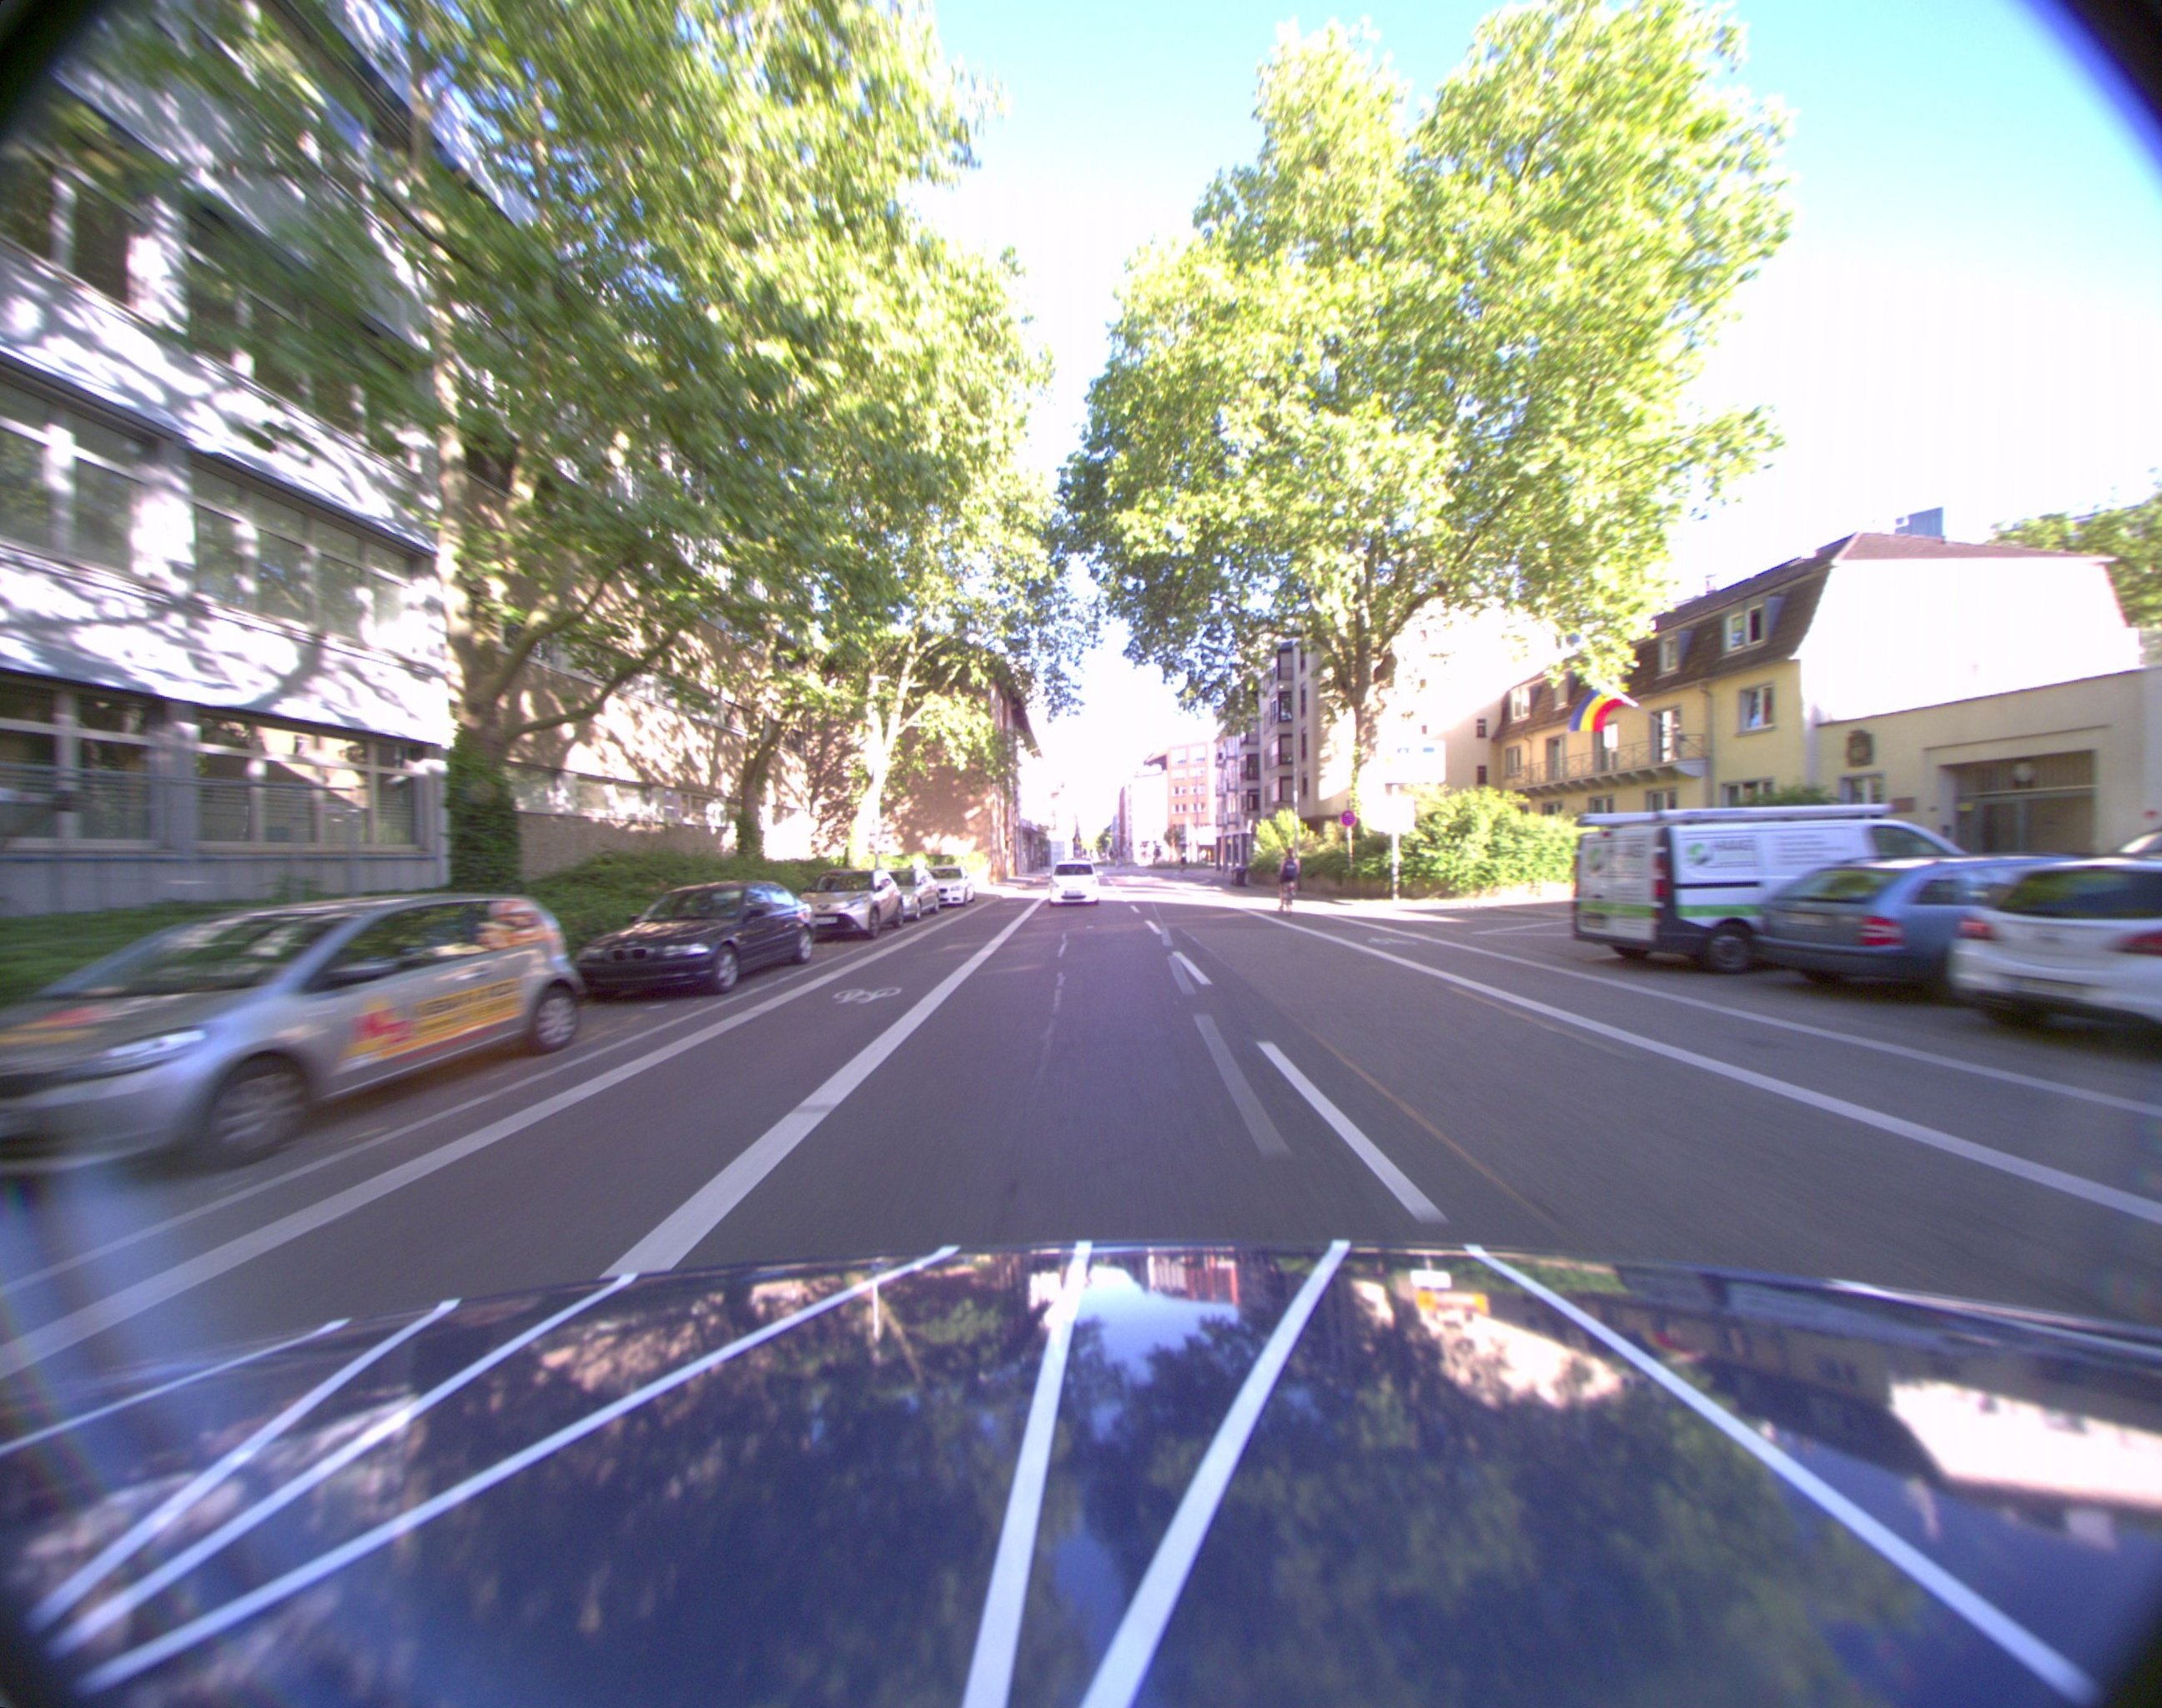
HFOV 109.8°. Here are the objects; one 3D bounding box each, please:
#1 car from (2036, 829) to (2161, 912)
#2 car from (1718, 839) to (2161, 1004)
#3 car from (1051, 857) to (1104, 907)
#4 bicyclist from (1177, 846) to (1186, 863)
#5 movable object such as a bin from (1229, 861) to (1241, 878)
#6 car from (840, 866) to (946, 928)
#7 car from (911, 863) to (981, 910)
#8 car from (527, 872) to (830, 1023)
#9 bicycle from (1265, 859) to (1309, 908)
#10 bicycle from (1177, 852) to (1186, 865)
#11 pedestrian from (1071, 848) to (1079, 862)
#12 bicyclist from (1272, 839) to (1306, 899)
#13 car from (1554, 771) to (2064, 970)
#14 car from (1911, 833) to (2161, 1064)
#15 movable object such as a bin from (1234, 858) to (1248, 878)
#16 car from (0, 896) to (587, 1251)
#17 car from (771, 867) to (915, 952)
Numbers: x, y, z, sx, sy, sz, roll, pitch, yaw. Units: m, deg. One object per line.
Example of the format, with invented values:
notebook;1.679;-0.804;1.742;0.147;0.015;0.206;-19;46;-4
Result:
car;20.866;0.219;14.037;3.870;1.409;1.891;-3;-1;2
car;9.582;0.626;8.102;3.997;1.424;1.853;-2;0;0
car;-0.129;0.905;26.074;1.683;1.490;3.684;-1;1;-1
bicyclist;9.667;0.047;73.200;0.730;1.632;1.168;-1;1;2
movable object such as a bin;8.567;0.853;42.327;0.542;0.896;0.604;-1;1;1
car;-5.189;1.125;21.650;1.860;1.428;4.602;-2;0;0
car;-4.865;1.116;28.026;1.860;1.428;4.968;-2;0;-3
car;-5.325;1.116;10.922;1.860;1.514;4.598;-3;0;0
bicycle;5.441;0.762;20.203;0.608;1.232;2.049;1;0;0
bicycle;9.688;0.437;73.326;0.730;1.193;2.179;0;1;2
pedestrian;-0.854;0.187;100.885;0.709;1.809;0.705;1;2;-42
bicyclist;5.429;0.383;19.836;0.608;1.536;0.934;1;0;0
car;9.598;0.199;10.387;4.856;2.204;2.140;-3;1;0
car;9.389;0.591;5.820;3.997;1.550;1.853;-2;0;0
movable object such as a bin;8.484;0.735;40.386;0.595;1.065;0.644;-1;1;1
car;-5.459;1.173;5.345;1.617;1.466;3.492;-3;0;0
car;-5.157;1.132;17.117;1.860;1.514;4.296;-2;0;0
